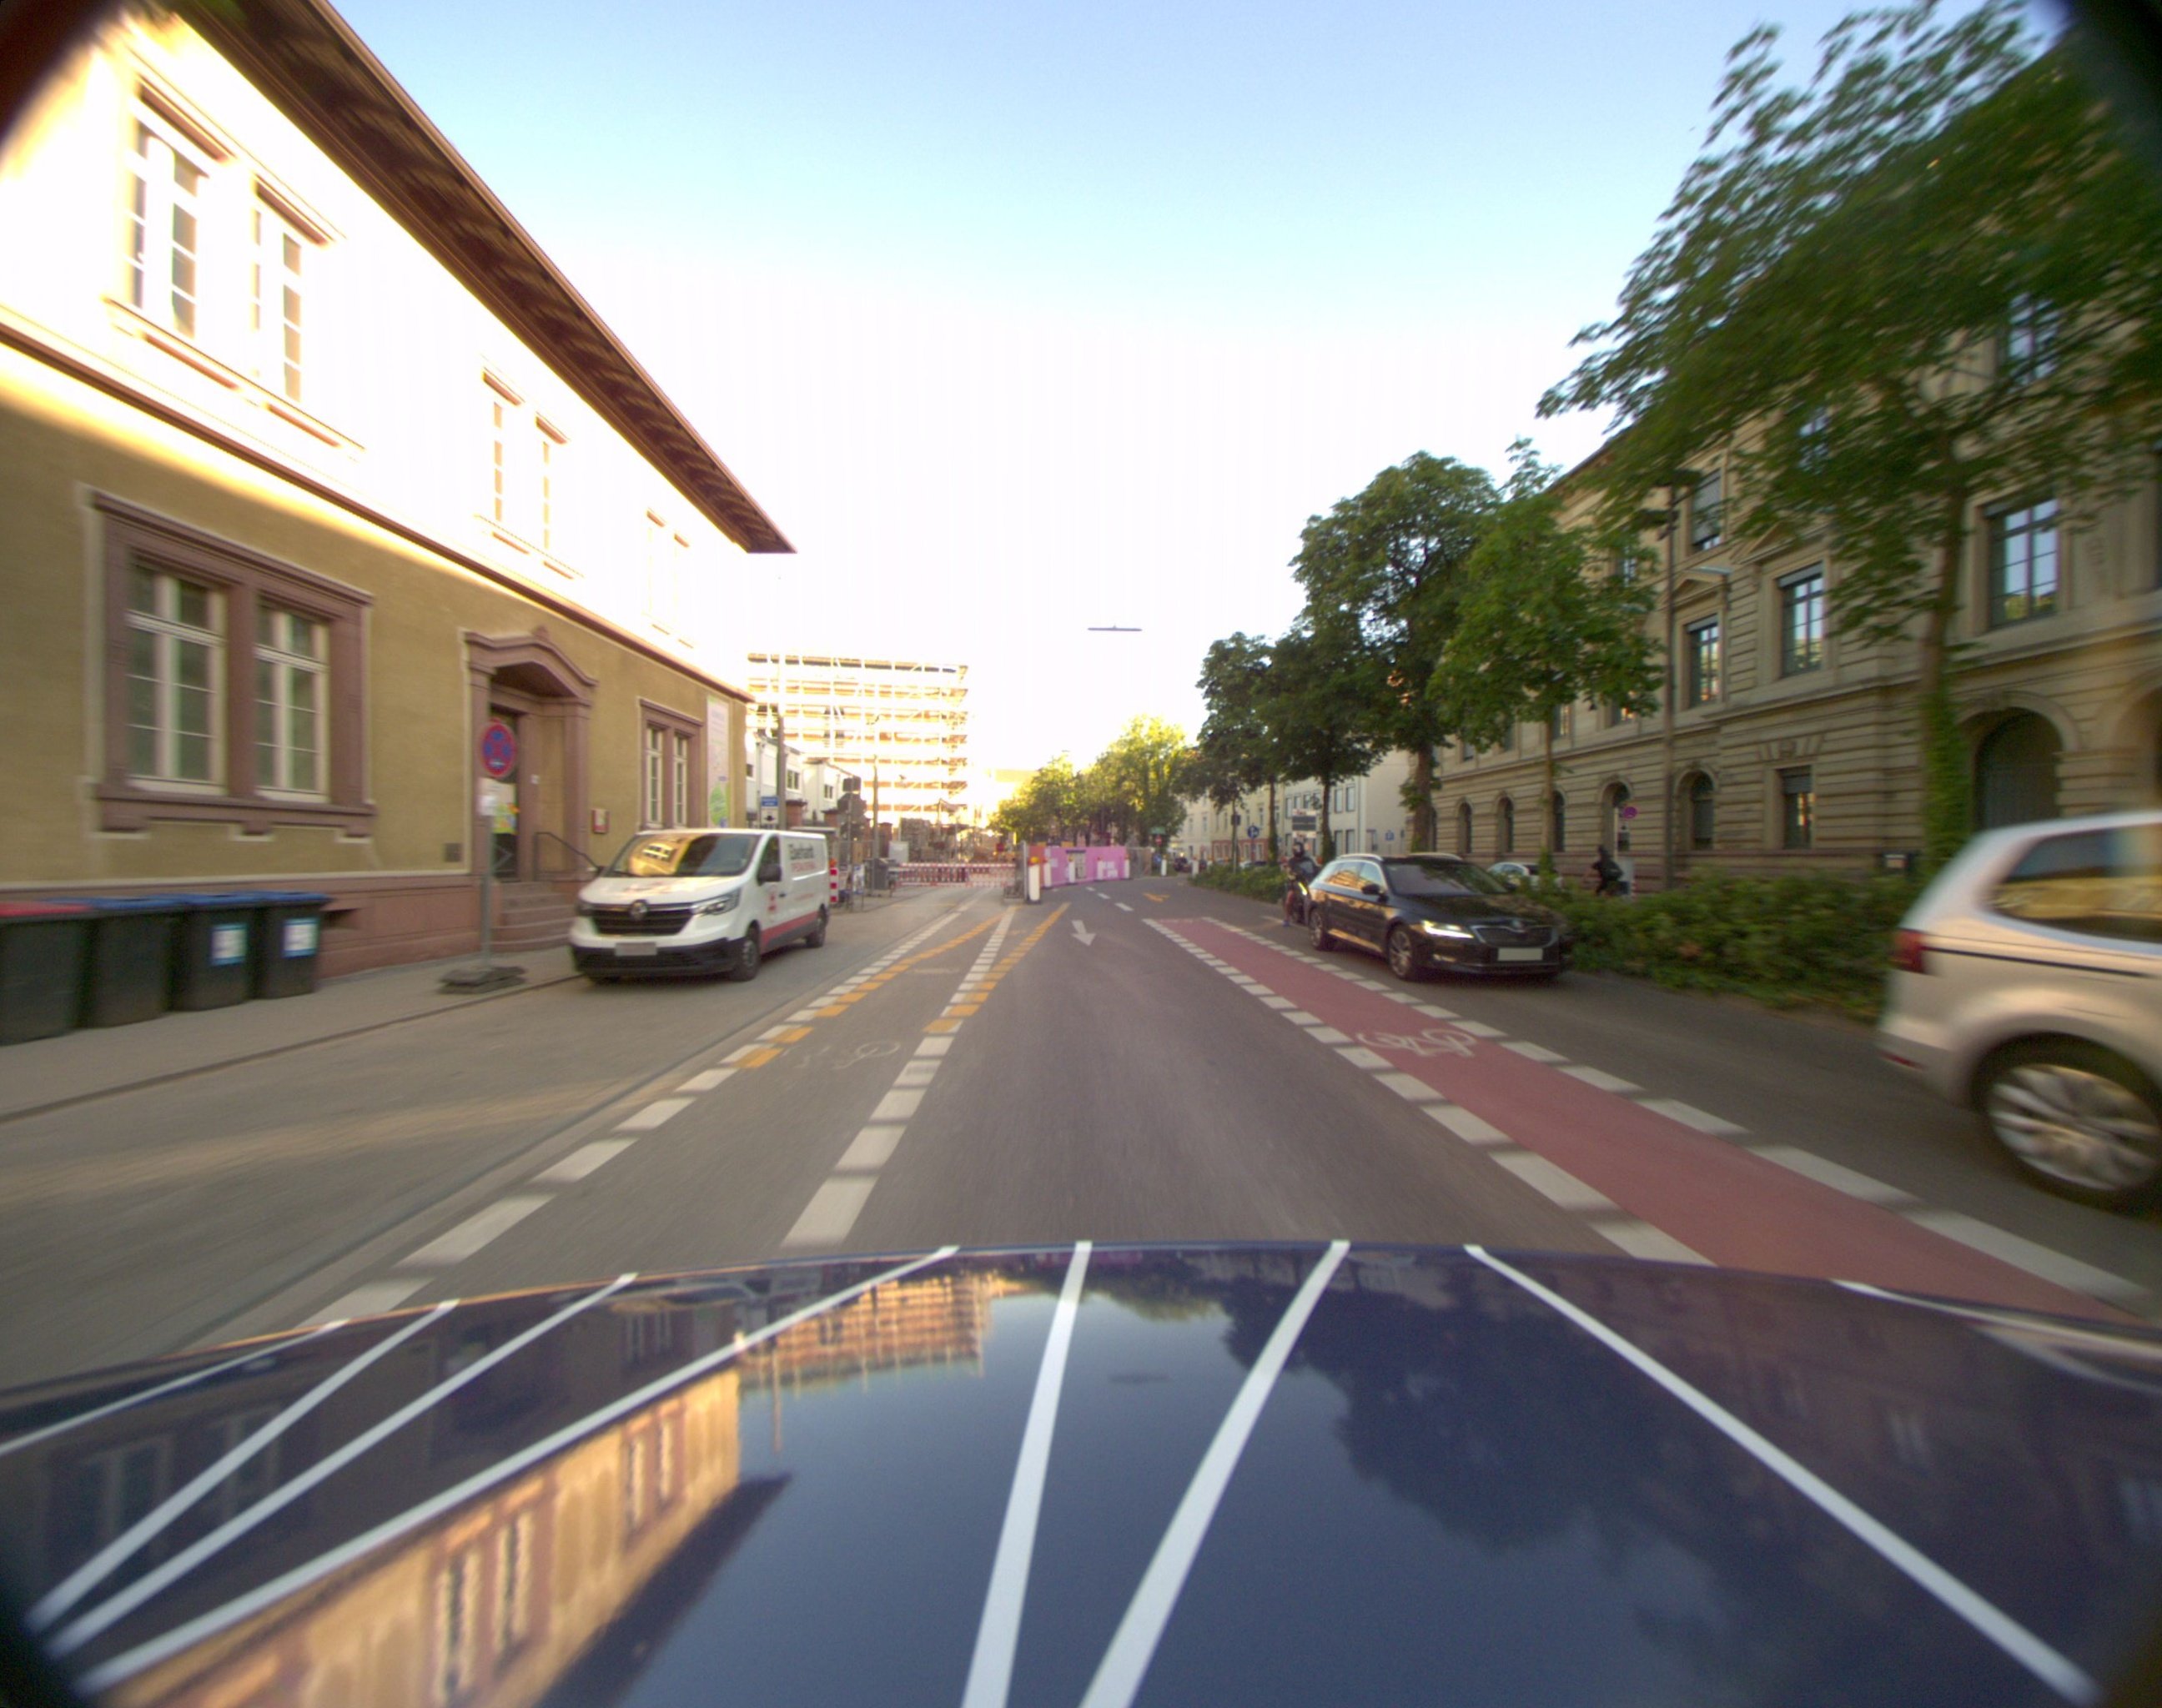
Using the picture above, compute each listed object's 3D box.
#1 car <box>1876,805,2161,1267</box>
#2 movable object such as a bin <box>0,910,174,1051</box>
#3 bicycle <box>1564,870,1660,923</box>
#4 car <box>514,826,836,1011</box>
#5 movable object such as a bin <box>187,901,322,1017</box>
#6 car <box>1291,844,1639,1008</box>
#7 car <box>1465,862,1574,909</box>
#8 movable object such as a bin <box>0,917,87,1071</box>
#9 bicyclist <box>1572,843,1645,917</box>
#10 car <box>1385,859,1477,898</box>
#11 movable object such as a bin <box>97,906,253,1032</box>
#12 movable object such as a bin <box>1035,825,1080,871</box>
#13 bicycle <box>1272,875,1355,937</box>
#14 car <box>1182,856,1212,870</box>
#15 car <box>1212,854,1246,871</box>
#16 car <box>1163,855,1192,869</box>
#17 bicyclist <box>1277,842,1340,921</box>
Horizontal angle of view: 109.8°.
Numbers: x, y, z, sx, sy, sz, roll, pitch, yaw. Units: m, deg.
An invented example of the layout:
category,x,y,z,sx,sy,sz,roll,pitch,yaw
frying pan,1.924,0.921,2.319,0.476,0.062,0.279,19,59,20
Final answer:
category,x,y,z,sx,sy,sz,roll,pitch,yaw
car,5.150,0.700,1.519,1.997,1.739,4.746,1,0,-3
movable object such as a bin,-8.328,1.030,6.359,0.795,1.067,0.571,2,1,1
bicycle,13.688,1.065,19.676,0.883,1.187,2.175,3,1,0
car,-5.156,0.647,10.789,2.020,1.934,5.478,-1,1,-5
movable object such as a bin,-8.281,1.033,7.632,0.731,1.067,0.562,2,1,1
car,4.537,0.723,10.034,1.999,1.648,4.735,1,0,-3
car,15.776,1.080,27.574,1.672,1.499,3.846,1,0,-1
movable object such as a bin,-8.278,1.039,5.737,0.795,1.067,0.571,2,1,1
bicyclist,13.721,0.659,19.795,0.883,1.824,1.285,3,1,0
car,15.520,1.038,33.963,1.884,1.499,4.643,2,0,-1
movable object such as a bin,-8.335,1.038,7.010,0.795,1.067,0.535,2,1,1
movable object such as a bin,-1.853,-0.444,57.877,3.171,3.281,4.384,1,0,-4
bicycle,4.588,0.994,15.201,0.872,1.036,2.453,-1,0,-1
car,12.500,0.948,82.032,1.773,1.479,4.188,-1,0,-14
car,14.305,0.795,73.677,1.807,1.562,4.150,1,0,-11
car,11.078,0.874,87.351,1.820,1.562,4.384,1,0,-14
bicyclist,4.574,0.540,15.384,0.870,1.514,1.231,-1,1,-1
